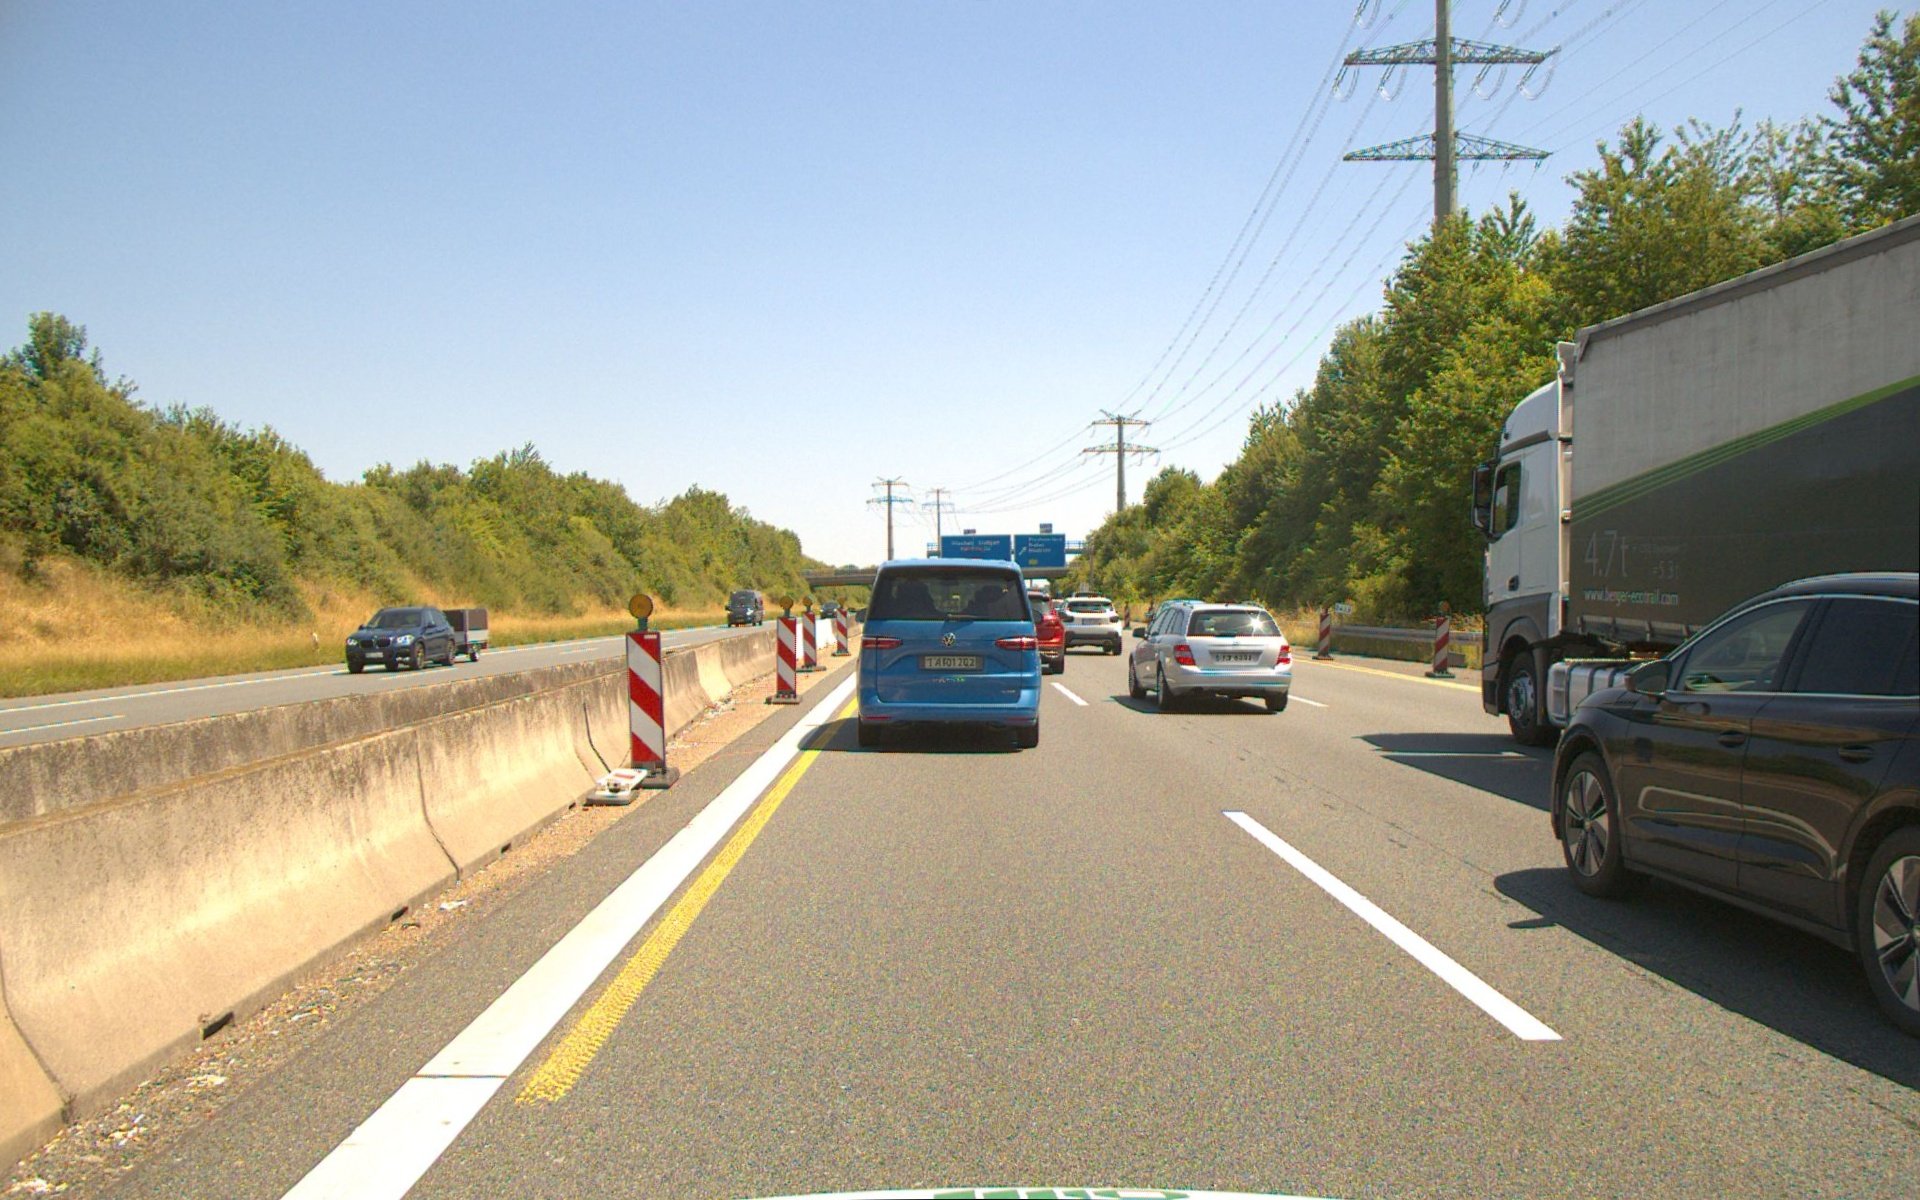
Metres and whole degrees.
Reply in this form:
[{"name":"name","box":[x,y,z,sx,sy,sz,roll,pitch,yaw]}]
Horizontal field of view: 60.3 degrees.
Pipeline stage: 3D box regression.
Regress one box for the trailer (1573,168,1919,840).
[{"name":"trailer","box":[7.270,-0.576,8.878,2.727,4.118,13.107,1,0,-2]}]

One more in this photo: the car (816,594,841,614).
[{"name":"car","box":[-12.023,0.341,151.443,1.953,1.713,4.152,-3,0,-1]}]

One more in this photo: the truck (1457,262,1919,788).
[{"name":"truck","box":[7.076,-0.576,15.980,2.677,4.118,5.792,1,0,-1]}]

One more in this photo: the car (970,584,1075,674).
[{"name":"car","box":[1.222,0.562,34.084,1.837,1.700,4.358,1,0,-2]}]

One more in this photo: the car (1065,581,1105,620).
[{"name":"car","box":[6.725,0.040,89.534,1.761,2.049,4.226,1,0,-1]}]

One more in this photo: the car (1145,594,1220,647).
[{"name":"car","box":[6.560,0.585,49.077,1.666,1.473,3.787,1,0,-1]}]

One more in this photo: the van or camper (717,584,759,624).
[{"name":"van or camper","box":[-16.265,0.298,121.459,2.178,2.758,7.078,-3,0,-2]}]

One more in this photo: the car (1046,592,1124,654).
[{"name":"car","box":[3.447,0.610,46.228,1.761,1.622,4.226,1,0,-1]}]

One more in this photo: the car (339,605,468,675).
[{"name":"car","box":[-15.098,1.041,45.140,1.953,1.678,4.629,-3,0,-1]}]

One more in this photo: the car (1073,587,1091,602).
[{"name":"car","box":[15.009,-0.664,203.451,1.837,1.700,4.358,1,0,-2]}]

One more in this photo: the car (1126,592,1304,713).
[{"name":"car","box":[3.537,0.690,23.664,1.735,1.544,4.358,1,0,-2]}]

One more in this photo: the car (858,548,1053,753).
[{"name":"car","box":[-0.103,0.494,18.086,1.837,1.945,4.358,1,0,-2]}]

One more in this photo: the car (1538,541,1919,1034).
[{"name":"car","box":[4.081,0.658,6.886,1.666,1.684,4.428,1,0,-2]}]

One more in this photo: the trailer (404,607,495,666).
[{"name":"trailer","box":[-15.195,1.052,49.373,1.537,1.579,3.778,-2,0,-1]}]

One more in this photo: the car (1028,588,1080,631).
[{"name":"car","box":[3.679,0.370,65.289,1.761,1.622,4.226,1,0,-1]}]
